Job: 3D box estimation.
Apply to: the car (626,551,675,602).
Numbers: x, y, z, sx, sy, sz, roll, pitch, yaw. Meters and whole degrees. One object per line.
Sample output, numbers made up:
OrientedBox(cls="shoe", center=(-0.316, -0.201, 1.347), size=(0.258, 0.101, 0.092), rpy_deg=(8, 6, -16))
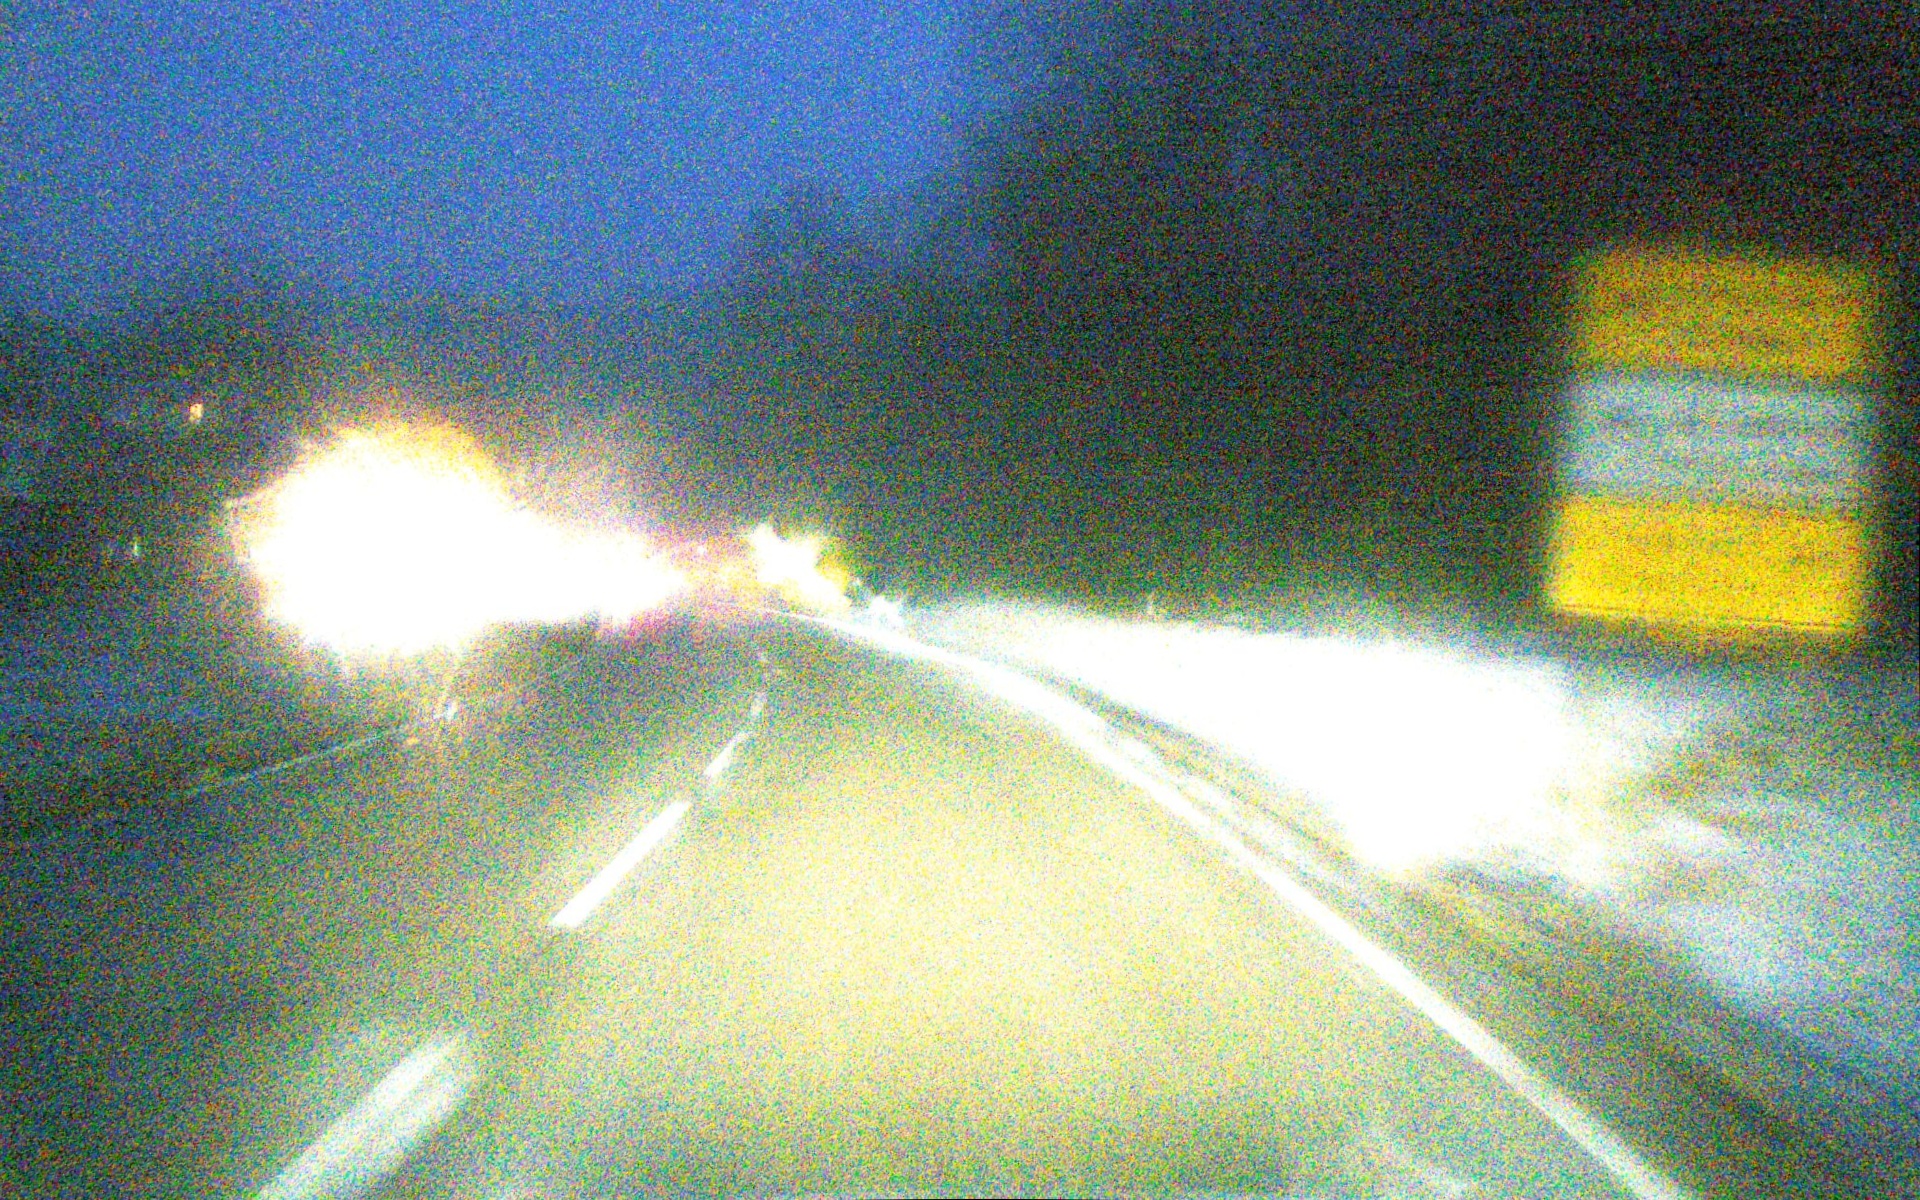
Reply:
OrientedBox(cls="car", center=(-17.890, -1.399, 95.514), size=(2.495, 2.540, 5.698), rpy_deg=(2, 4, -13))

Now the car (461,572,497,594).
OrientedBox(cls="car", center=(-35.718, -1.268, 122.864), size=(1.931, 1.548, 4.365), rpy_deg=(2, 0, -24))

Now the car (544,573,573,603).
OrientedBox(cls="car", center=(-29.004, -0.848, 119.531), size=(1.960, 2.049, 3.985), rpy_deg=(2, 0, -14))
